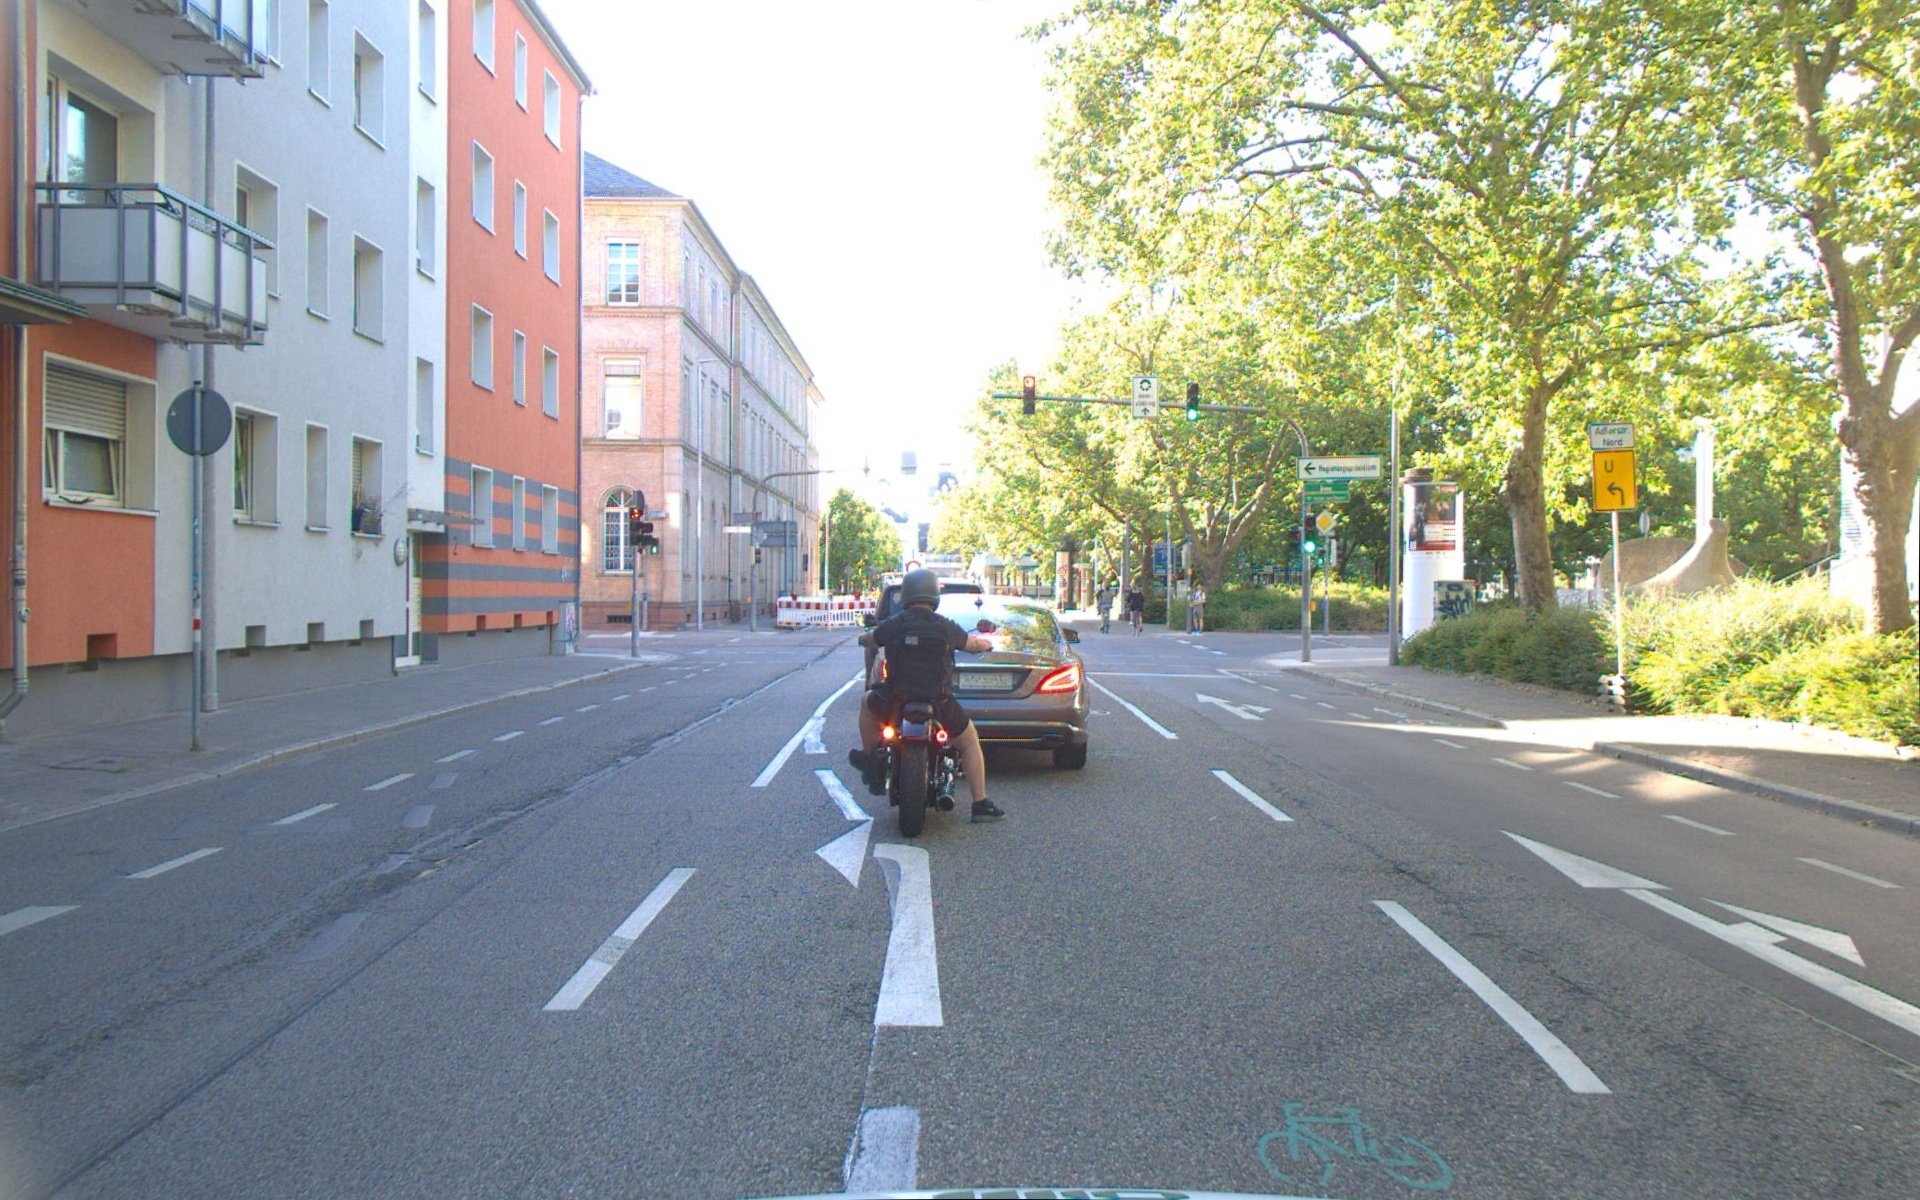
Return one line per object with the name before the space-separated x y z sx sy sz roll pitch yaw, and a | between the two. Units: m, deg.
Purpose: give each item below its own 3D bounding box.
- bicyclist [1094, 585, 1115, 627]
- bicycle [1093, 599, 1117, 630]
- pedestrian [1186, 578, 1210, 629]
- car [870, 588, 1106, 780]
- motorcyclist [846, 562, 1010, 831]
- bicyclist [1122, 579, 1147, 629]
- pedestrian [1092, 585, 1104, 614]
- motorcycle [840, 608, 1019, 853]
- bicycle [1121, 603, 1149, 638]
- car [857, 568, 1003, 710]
bicyclist | 5.449 0.209 62.338 0.643 1.557 0.906 2 0 -1
bicycle | 5.441 0.538 62.251 0.643 1.131 2.185 2 0 -1
pedestrian | 8.434 0.123 58.618 0.566 1.805 0.618 2 0 -35
car | 0.189 0.630 14.593 1.791 1.445 3.814 1 0 -1
motorcyclist | -0.204 0.582 10.742 0.991 1.630 1.406 0 0 -1
bicyclist | 5.594 0.126 53.075 0.643 1.557 0.852 2 0 -1
pedestrian | 7.829 -0.042 93.755 0.580 1.606 0.527 2 0 0
motorcycle | -0.186 0.733 10.542 0.991 1.329 2.672 0 0 -1
bicycle | 5.590 0.643 53.025 0.643 1.089 1.926 2 0 -1
car | -0.480 0.474 22.025 1.598 1.679 3.846 2 0 -6
